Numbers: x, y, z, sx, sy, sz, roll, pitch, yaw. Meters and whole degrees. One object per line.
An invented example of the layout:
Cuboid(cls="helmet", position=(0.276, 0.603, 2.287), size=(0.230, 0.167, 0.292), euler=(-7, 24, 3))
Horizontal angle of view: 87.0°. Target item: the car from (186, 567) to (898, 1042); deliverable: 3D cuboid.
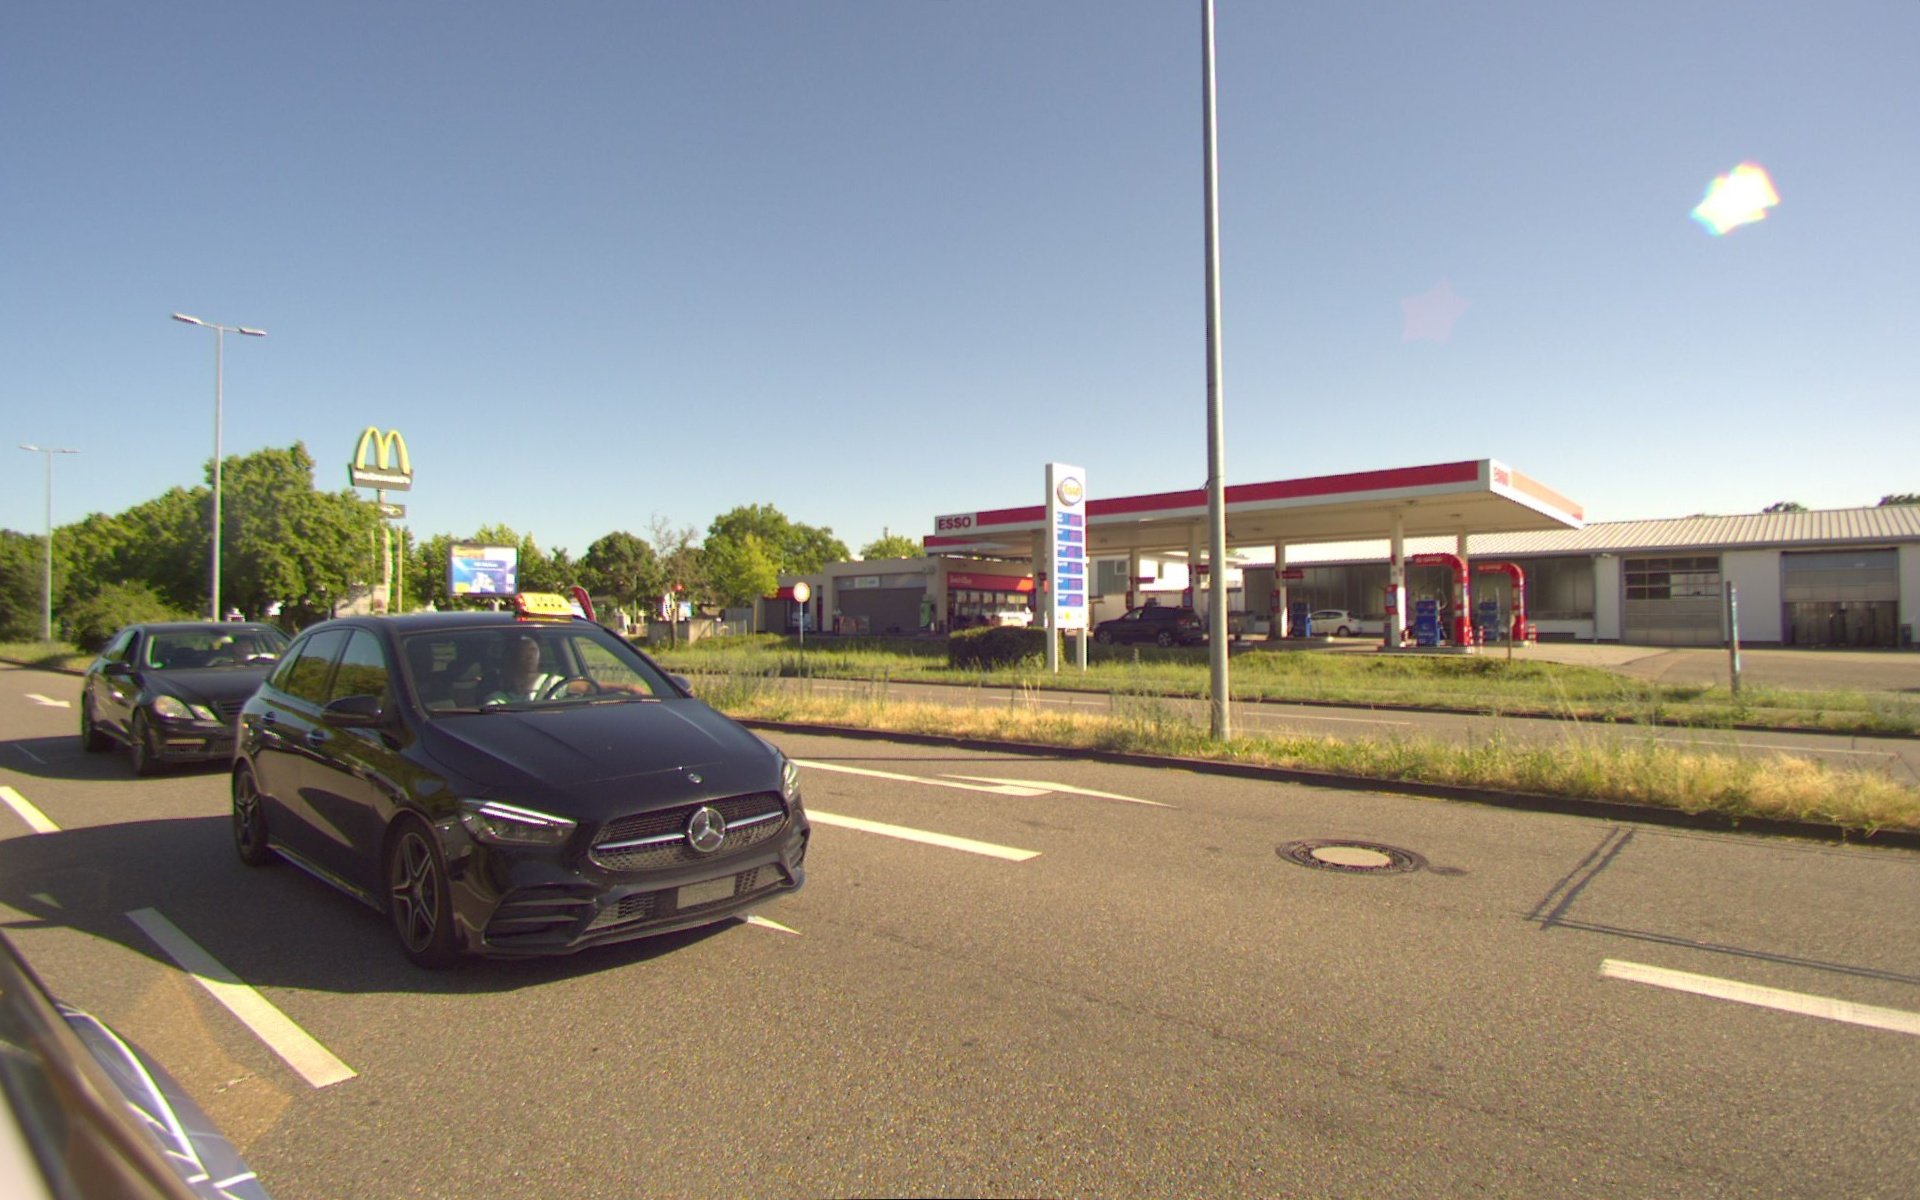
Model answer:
Cuboid(cls="car", position=(-2.607, 0.746, 5.618), size=(4.579, 1.614, 1.765), euler=(-2, -1, 40))

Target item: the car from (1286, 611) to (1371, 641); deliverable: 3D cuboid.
Cuboid(cls="car", position=(19.983, 1.381, 54.920), size=(3.855, 1.500, 1.973), euler=(-1, 0, 41))

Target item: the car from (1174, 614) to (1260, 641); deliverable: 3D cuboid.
Cuboid(cls="car", position=(15.142, 1.605, 59.774), size=(4.540, 1.477, 1.973), euler=(-1, 0, 41))

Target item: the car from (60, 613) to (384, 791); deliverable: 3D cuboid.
Cuboid(cls="car", position=(-8.185, 0.921, 11.063), size=(4.461, 1.521, 1.928), euler=(-1, 0, 41))

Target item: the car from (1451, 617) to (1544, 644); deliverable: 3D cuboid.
Cuboid(cls="car", position=(26.224, 1.464, 49.419), size=(3.729, 1.196, 1.658), euler=(-1, 0, 41))

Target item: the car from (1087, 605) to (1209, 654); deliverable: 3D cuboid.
Cuboid(cls="car", position=(7.241, 1.124, 39.283), size=(4.322, 1.739, 1.783), euler=(-1, 2, 43))
